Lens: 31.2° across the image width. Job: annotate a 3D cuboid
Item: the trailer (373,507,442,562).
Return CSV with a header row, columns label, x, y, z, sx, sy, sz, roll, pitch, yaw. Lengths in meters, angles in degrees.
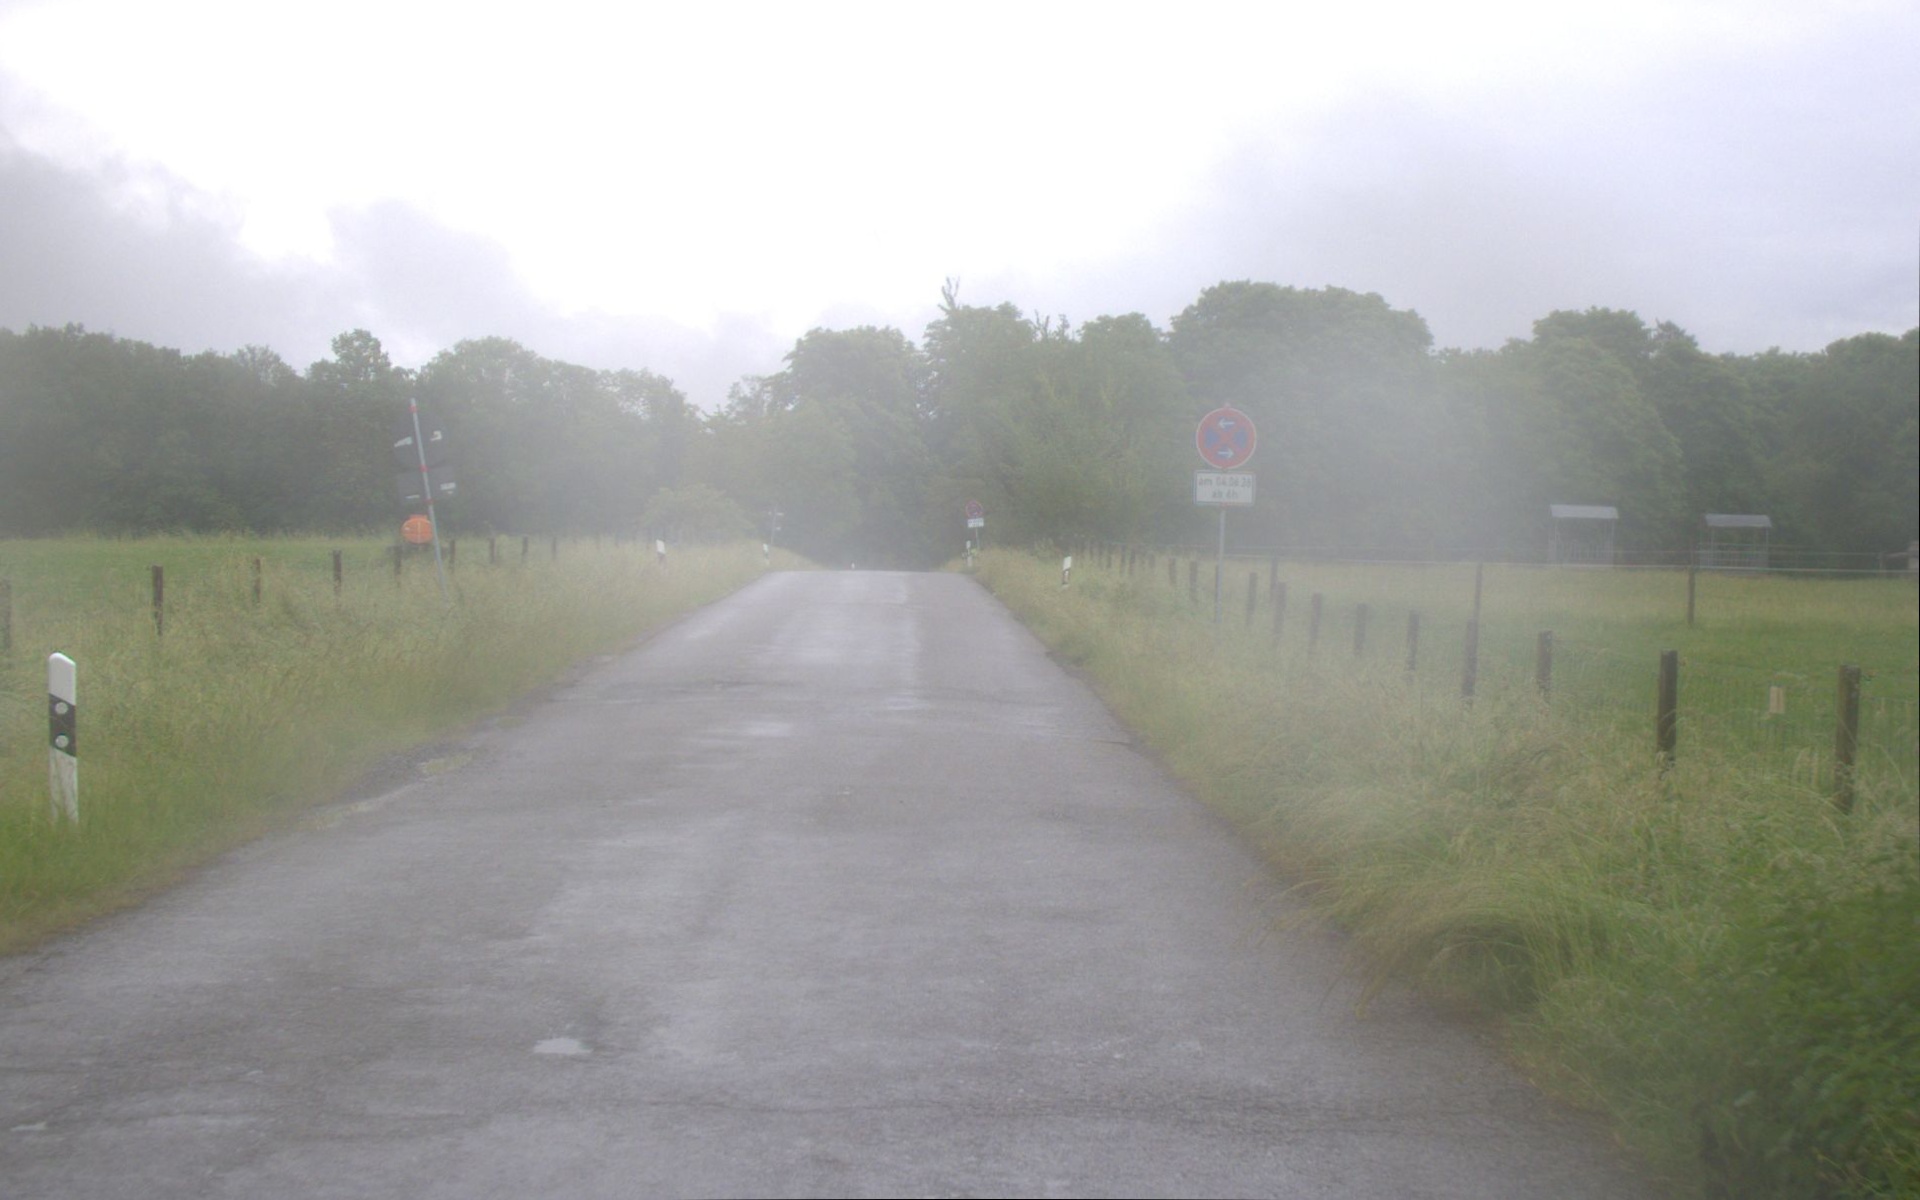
label,x,y,z,sx,sy,sz,roll,pitch,yaw
trailer,-15.446,-1.835,96.018,1.751,1.499,3.091,1,1,-11
